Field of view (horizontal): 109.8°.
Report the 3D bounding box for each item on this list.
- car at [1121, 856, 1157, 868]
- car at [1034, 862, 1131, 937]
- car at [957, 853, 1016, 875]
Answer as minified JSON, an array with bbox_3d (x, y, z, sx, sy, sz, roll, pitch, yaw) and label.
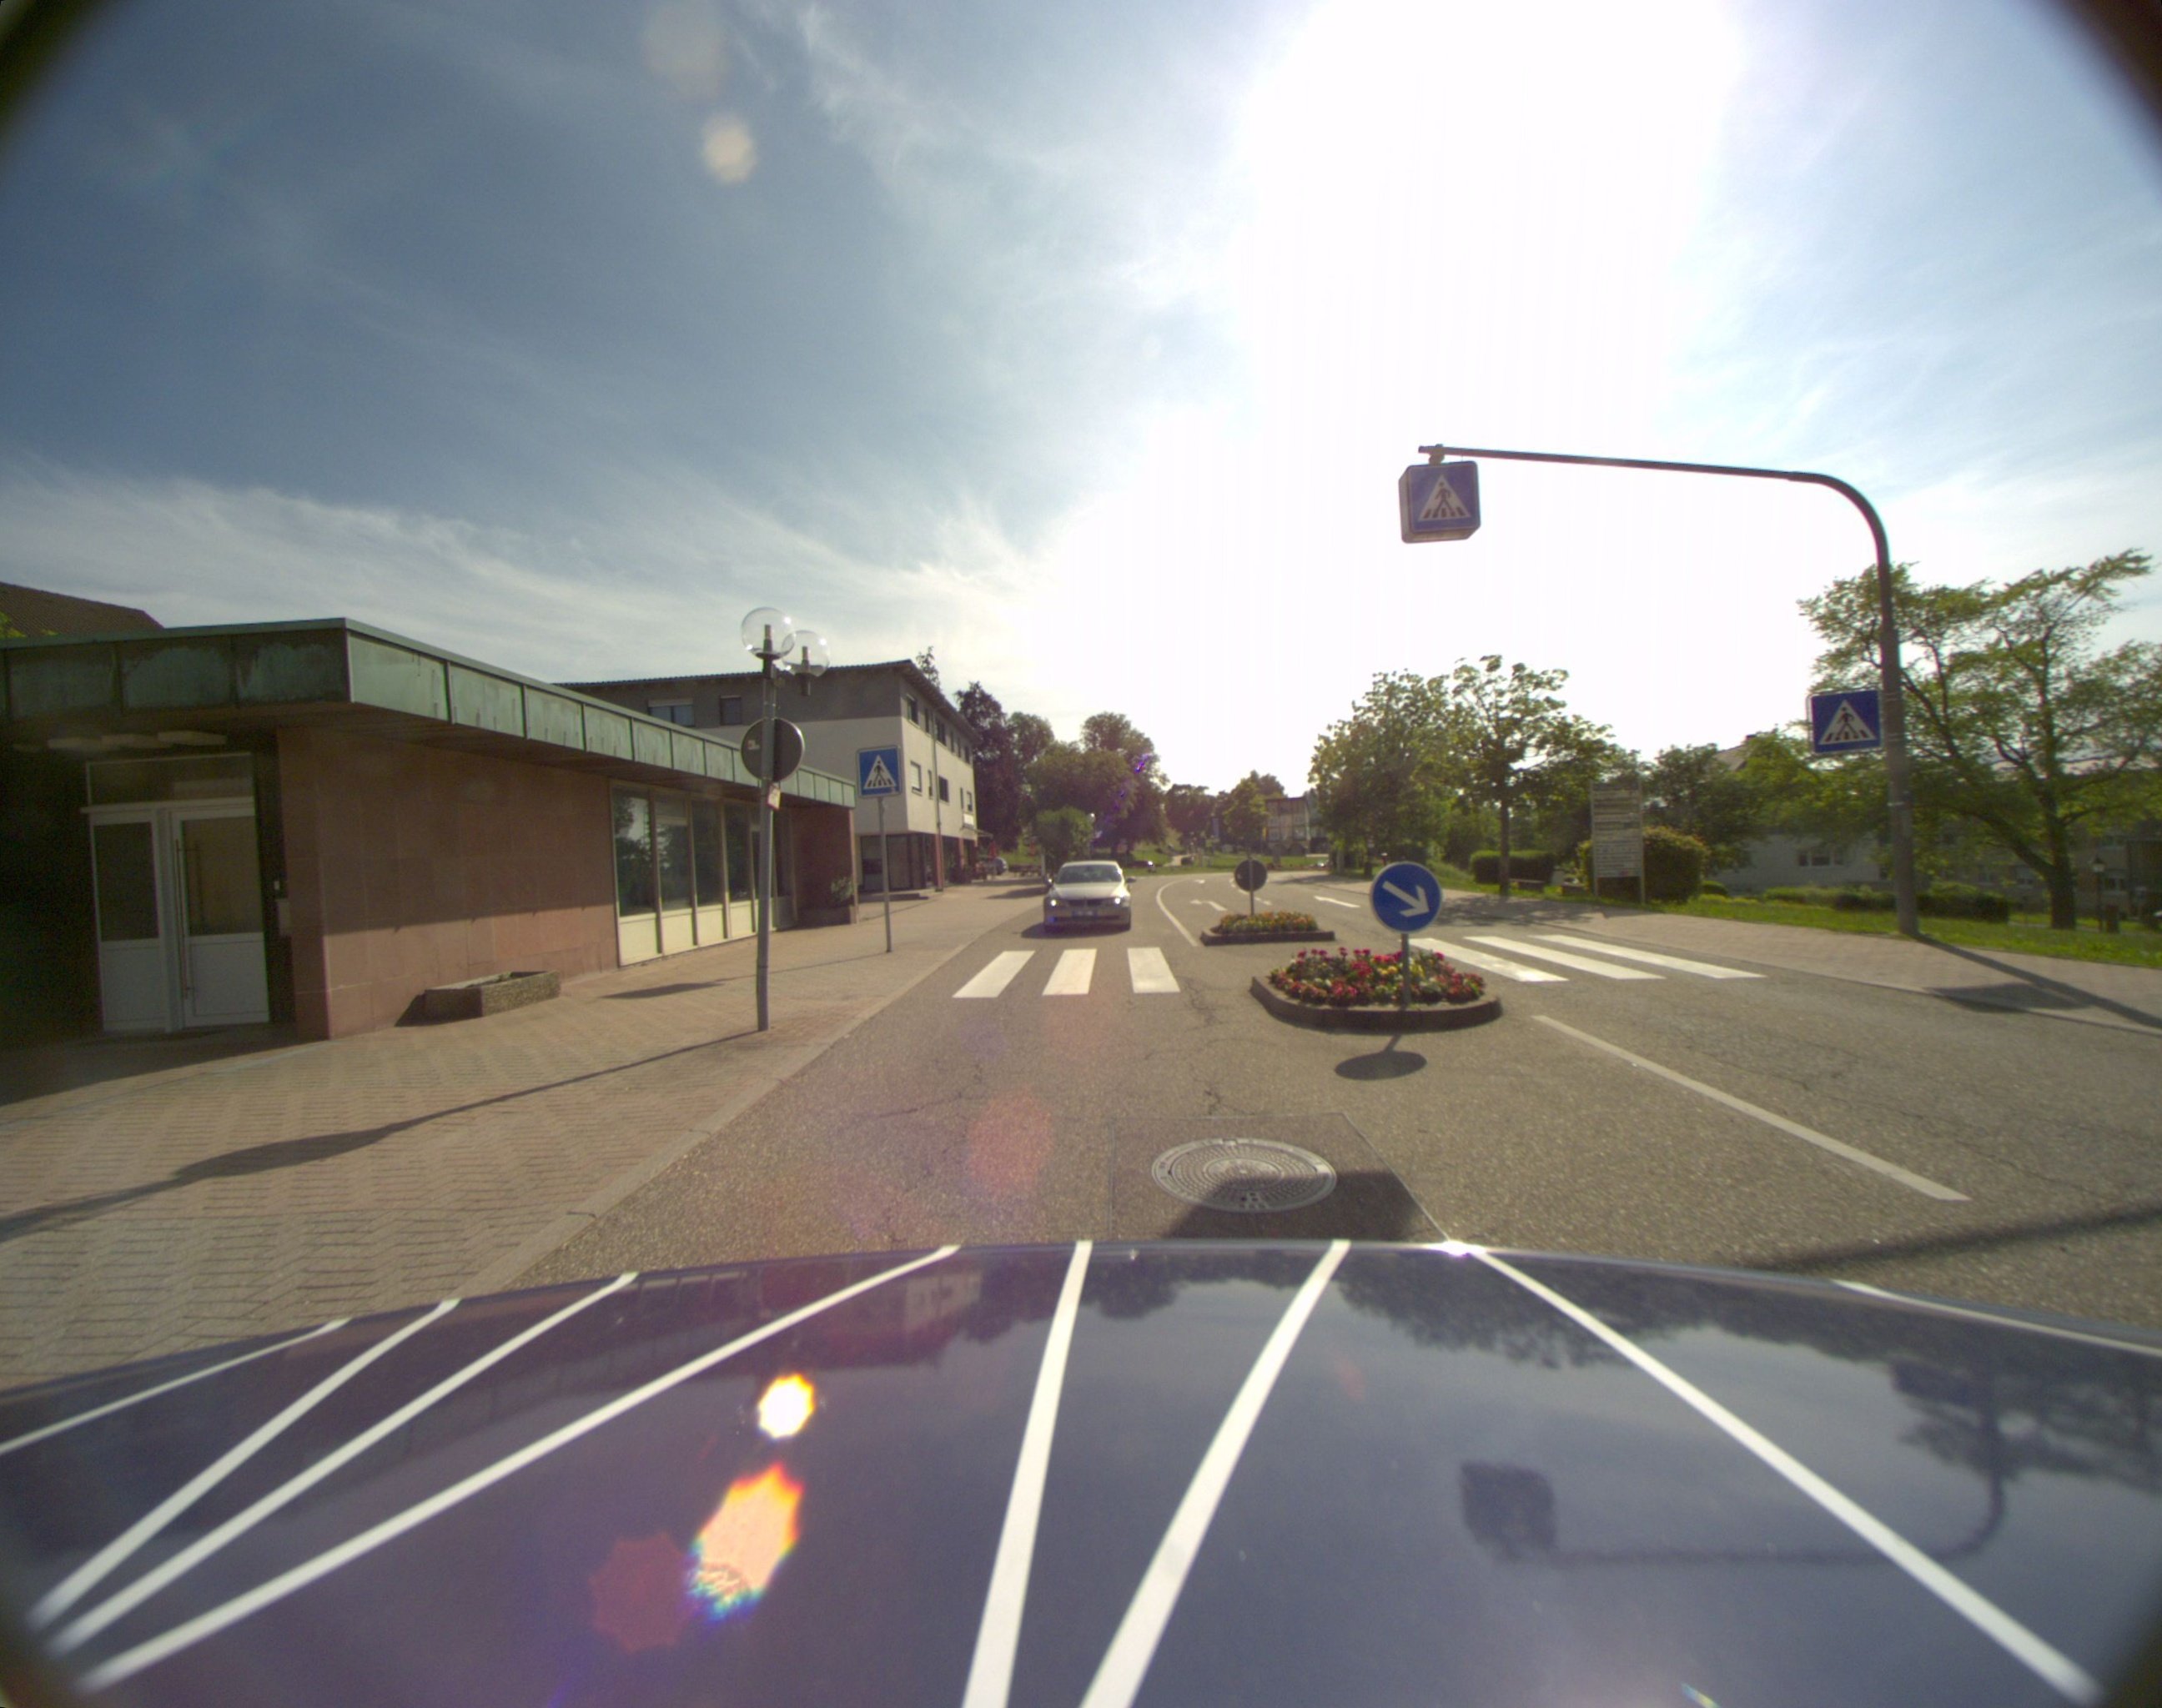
[{"bbox_3d":[7.252,1.046,95.653,4.254,1.420,1.706,-1,0,35],"label":"car"},{"bbox_3d":[0.158,0.895,16.840,1.838,1.360,4.582,0,0,3],"label":"car"},{"bbox_3d":[-7.100,0.708,57.366,3.994,1.499,1.905,1,2,9],"label":"car"}]
